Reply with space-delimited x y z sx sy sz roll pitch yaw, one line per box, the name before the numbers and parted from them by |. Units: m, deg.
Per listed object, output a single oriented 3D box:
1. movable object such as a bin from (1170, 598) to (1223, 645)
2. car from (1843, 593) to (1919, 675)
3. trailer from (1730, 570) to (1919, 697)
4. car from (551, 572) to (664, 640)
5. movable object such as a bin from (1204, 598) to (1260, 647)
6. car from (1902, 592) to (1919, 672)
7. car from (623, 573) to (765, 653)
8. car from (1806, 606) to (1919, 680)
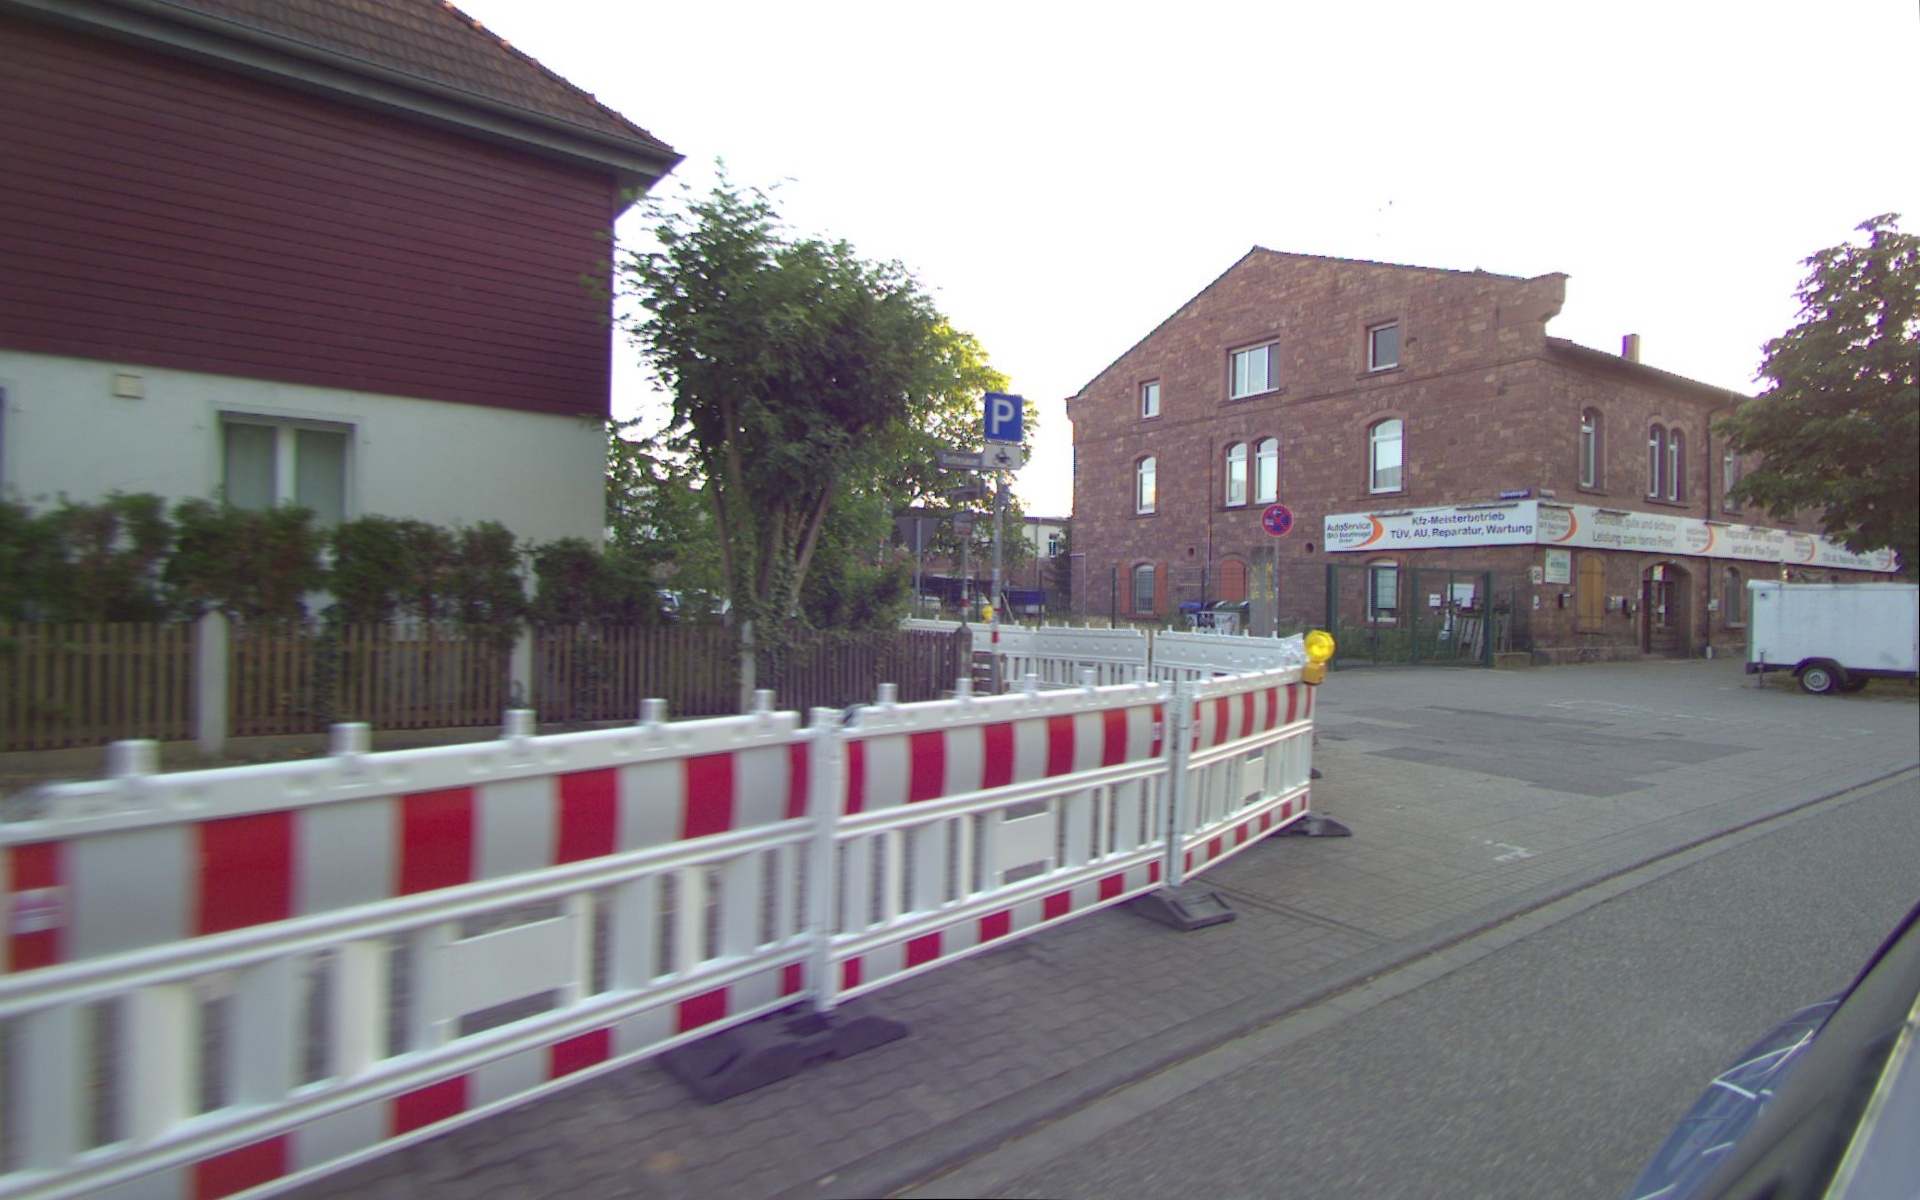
movable object such as a bin | 7.522 0.681 32.174 1.038 1.462 1.291 1 -1 -32
car | 22.523 0.761 22.295 1.868 1.822 4.315 1 -1 -35
trailer | 17.109 0.591 18.838 1.961 2.215 4.001 1 -1 -33
car | -10.364 0.175 29.584 1.963 1.857 3.997 1 -1 -38
movable object such as a bin | 8.311 0.674 30.955 1.075 1.462 1.265 1 -1 -32
car | 24.854 0.772 23.528 1.962 1.928 3.999 1 -1 -35
car | -6.586 0.303 24.767 1.963 1.791 3.997 1 -1 -38
car | 20.699 0.907 21.064 1.739 1.518 4.441 1 -1 -35
